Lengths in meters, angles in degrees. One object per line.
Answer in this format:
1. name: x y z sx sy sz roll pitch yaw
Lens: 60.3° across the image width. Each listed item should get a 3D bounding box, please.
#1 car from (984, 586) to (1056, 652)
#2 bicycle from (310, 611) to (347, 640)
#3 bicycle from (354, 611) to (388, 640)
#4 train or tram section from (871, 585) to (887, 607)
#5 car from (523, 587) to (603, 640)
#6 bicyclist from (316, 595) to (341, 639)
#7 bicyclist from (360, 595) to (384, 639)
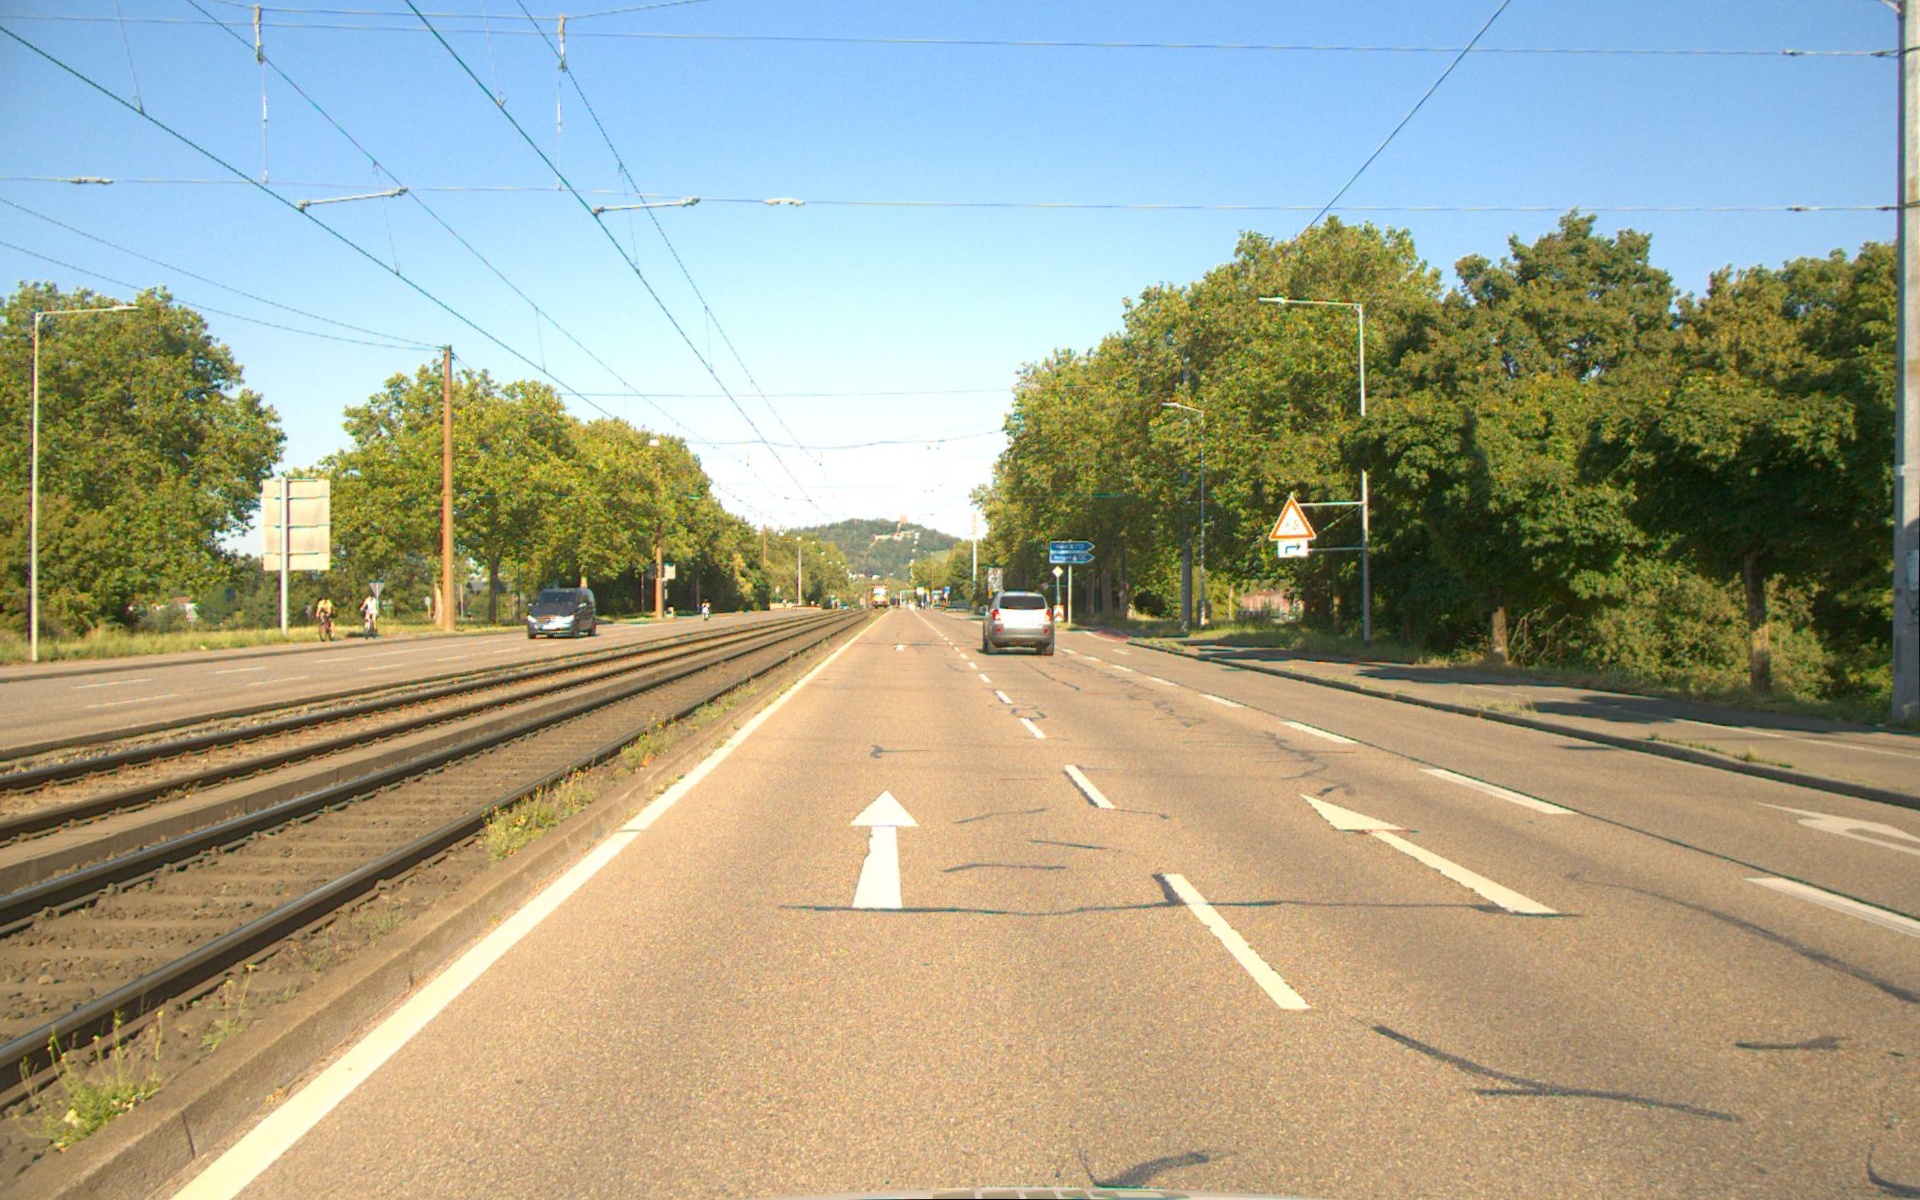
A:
1. car: 1.624 0.519 45.989 1.849 1.723 4.256 1 -1 0
2. bicycle: -22.772 0.910 59.649 0.578 1.040 2.184 0 -1 -3
3. bicycle: -21.990 0.950 61.791 0.578 1.040 2.184 0 -1 -3
4. train or tram section: -12.985 -0.616 264.583 2.264 3.273 9.471 2 -1 -2
5. car: -15.365 0.524 64.221 1.953 1.956 4.859 0 -1 -1
6. bicyclist: -22.769 0.615 59.649 0.578 1.555 0.905 0 -1 -3
7. bicyclist: -21.987 0.635 61.876 0.578 1.639 0.966 0 -1 -3
